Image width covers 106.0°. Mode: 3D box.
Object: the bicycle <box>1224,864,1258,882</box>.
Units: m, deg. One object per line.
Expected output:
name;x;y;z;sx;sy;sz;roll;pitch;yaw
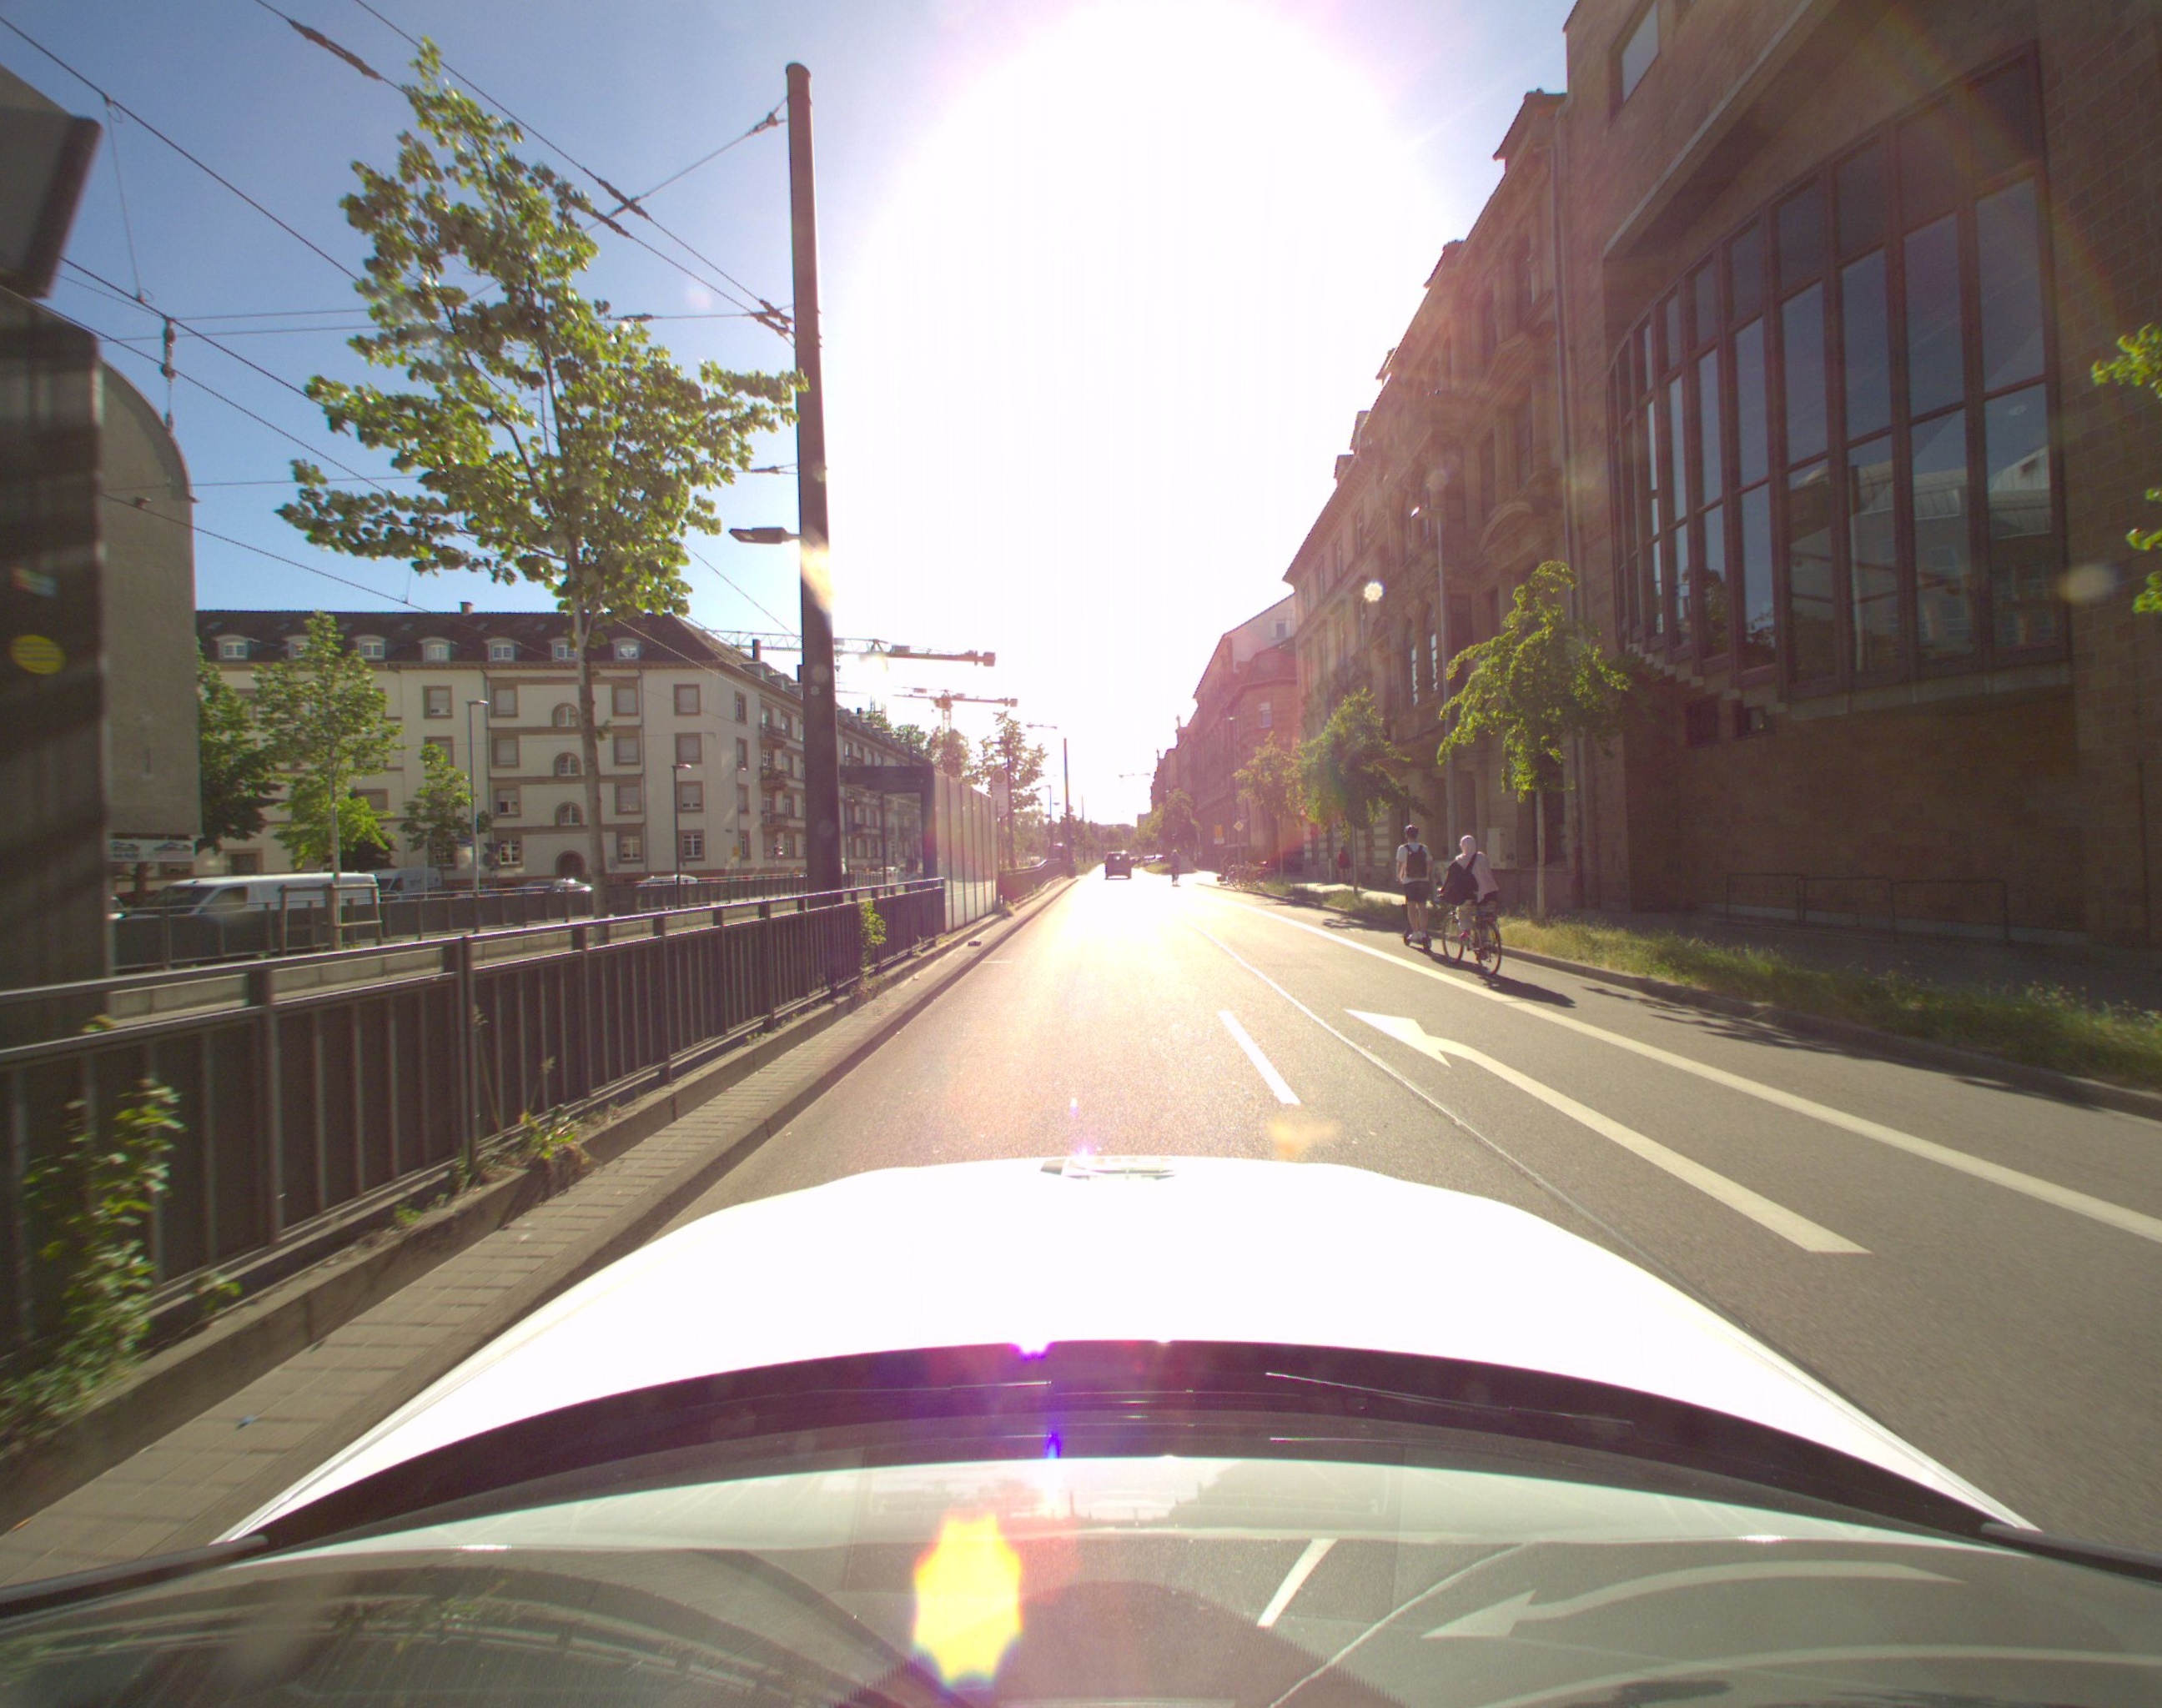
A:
bicycle;8.217;0.979;41.803;1.661;0.821;0.608;-3;0;8

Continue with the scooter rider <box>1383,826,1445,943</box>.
scooter rider;5.486;0.487;13.470;0.664;1.861;0.901;0;0;1

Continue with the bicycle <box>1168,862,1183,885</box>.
bicycle;4.970;1.016;42.972;0.599;1.181;1.869;0;0;1

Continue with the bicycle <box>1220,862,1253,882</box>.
bicycle;8.098;0.924;42.472;1.660;0.944;0.608;-3;0;8

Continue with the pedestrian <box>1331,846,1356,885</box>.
pedestrian;10.839;0.472;33.626;0.706;1.542;0.927;-2;-1;1

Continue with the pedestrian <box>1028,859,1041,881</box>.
pedestrian;-3.285;1.095;57.123;0.809;1.536;0.798;-1;-1;3

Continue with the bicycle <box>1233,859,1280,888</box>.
bicycle;8.059;0.886;37.459;1.987;1.128;0.710;-5;0;2

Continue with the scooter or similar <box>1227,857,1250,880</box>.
scooter or similar;8.485;0.781;43.876;1.105;1.189;0.420;-3;0;8

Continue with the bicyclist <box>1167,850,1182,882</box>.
bicyclist;4.944;0.654;43.120;0.682;1.673;0.922;0;0;1

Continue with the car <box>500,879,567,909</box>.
car;-31.834;2.321;47.477;1.684;1.522;3.664;-2;0;-7

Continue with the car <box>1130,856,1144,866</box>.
car;8.530;1.075;124.401;2.020;1.499;4.655;-2;-1;2

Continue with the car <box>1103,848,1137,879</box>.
car;2.648;0.626;56.019;2.192;1.926;4.655;-2;-1;1

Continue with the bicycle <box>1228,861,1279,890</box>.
bicycle;7.624;0.944;36.094;1.994;1.092;0.845;-5;0;-8

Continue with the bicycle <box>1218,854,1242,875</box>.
bicycle;9.947;0.703;54.392;0.618;1.330;1.886;-6;-1;-21

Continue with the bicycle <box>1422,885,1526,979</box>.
bicycle;5.215;0.999;10.927;0.555;1.092;1.792;0;0;1

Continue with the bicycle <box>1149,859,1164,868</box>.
bicycle;9.220;1.143;99.572;1.786;1.030;0.527;-2;-1;1

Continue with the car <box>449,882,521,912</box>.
car;-34.027;2.422;46.619;1.684;1.522;3.656;-2;0;-7

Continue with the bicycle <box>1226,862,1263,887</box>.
bicycle;7.768;0.952;38.777;1.592;1.045;0.607;-5;0;4

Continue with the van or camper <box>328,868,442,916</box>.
van or camper;-38.977;2.037;45.874;1.993;2.401;5.937;-2;0;-9

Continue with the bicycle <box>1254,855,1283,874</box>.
bicycle;12.553;0.725;54.609;1.808;1.171;0.655;-2;3;5

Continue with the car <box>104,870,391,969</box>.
car;-23.796;1.746;23.707;1.981;2.370;5.660;-2;0;9

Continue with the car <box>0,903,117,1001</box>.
car;-20.419;1.812;14.361;1.986;1.684;4.001;-1;-1;2

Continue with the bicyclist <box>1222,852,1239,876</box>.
bicyclist;9.969;0.695;54.360;0.663;1.530;0.795;-6;-1;-21

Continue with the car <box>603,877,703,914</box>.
car;-16.353;1.549;31.377;1.689;1.286;3.961;-1;-1;1

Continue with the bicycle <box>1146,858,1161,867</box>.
bicycle;8.975;1.045;100.924;1.786;1.030;0.527;-6;-1;1

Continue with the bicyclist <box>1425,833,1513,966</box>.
bicyclist;5.185;0.593;10.925;0.776;1.711;0.869;0;0;1

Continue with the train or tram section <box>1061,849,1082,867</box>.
train or tram section;-1.450;0.755;130.267;2.745;2.743;9.869;-1;-1;3

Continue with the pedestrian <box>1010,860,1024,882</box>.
pedestrian;-4.567;1.212;58.225;0.862;1.536;0.910;-1;-1;2

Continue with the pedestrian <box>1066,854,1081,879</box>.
pedestrian;-0.564;0.961;63.685;1.073;1.908;0.652;-2;-1;-5

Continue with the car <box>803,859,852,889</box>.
car;-16.255;1.267;52.375;1.813;1.794;4.089;-1;-1;1

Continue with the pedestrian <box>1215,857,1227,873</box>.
pedestrian;10.943;0.847;63.645;0.703;1.178;0.635;-4;-1;1

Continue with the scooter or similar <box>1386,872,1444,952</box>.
scooter or similar;5.468;0.924;13.364;0.489;1.227;1.171;0;0;1

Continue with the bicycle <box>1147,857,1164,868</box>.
bicycle;8.831;0.987;96.531;1.786;1.030;0.527;-6;-1;1

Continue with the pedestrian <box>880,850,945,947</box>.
pedestrian;-2.774;0.719;13.469;0.809;1.536;0.798;-2;0;3

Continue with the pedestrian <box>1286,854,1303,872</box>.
pedestrian;14.571;0.618;55.655;0.848;1.214;0.932;-1;-1;-5

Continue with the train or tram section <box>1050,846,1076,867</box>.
train or tram section;-2.396;0.437;110.586;2.745;2.743;9.869;-1;-1;3

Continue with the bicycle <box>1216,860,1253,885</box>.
bicycle;7.591;0.913;40.337;1.715;1.100;0.607;-5;0;4
